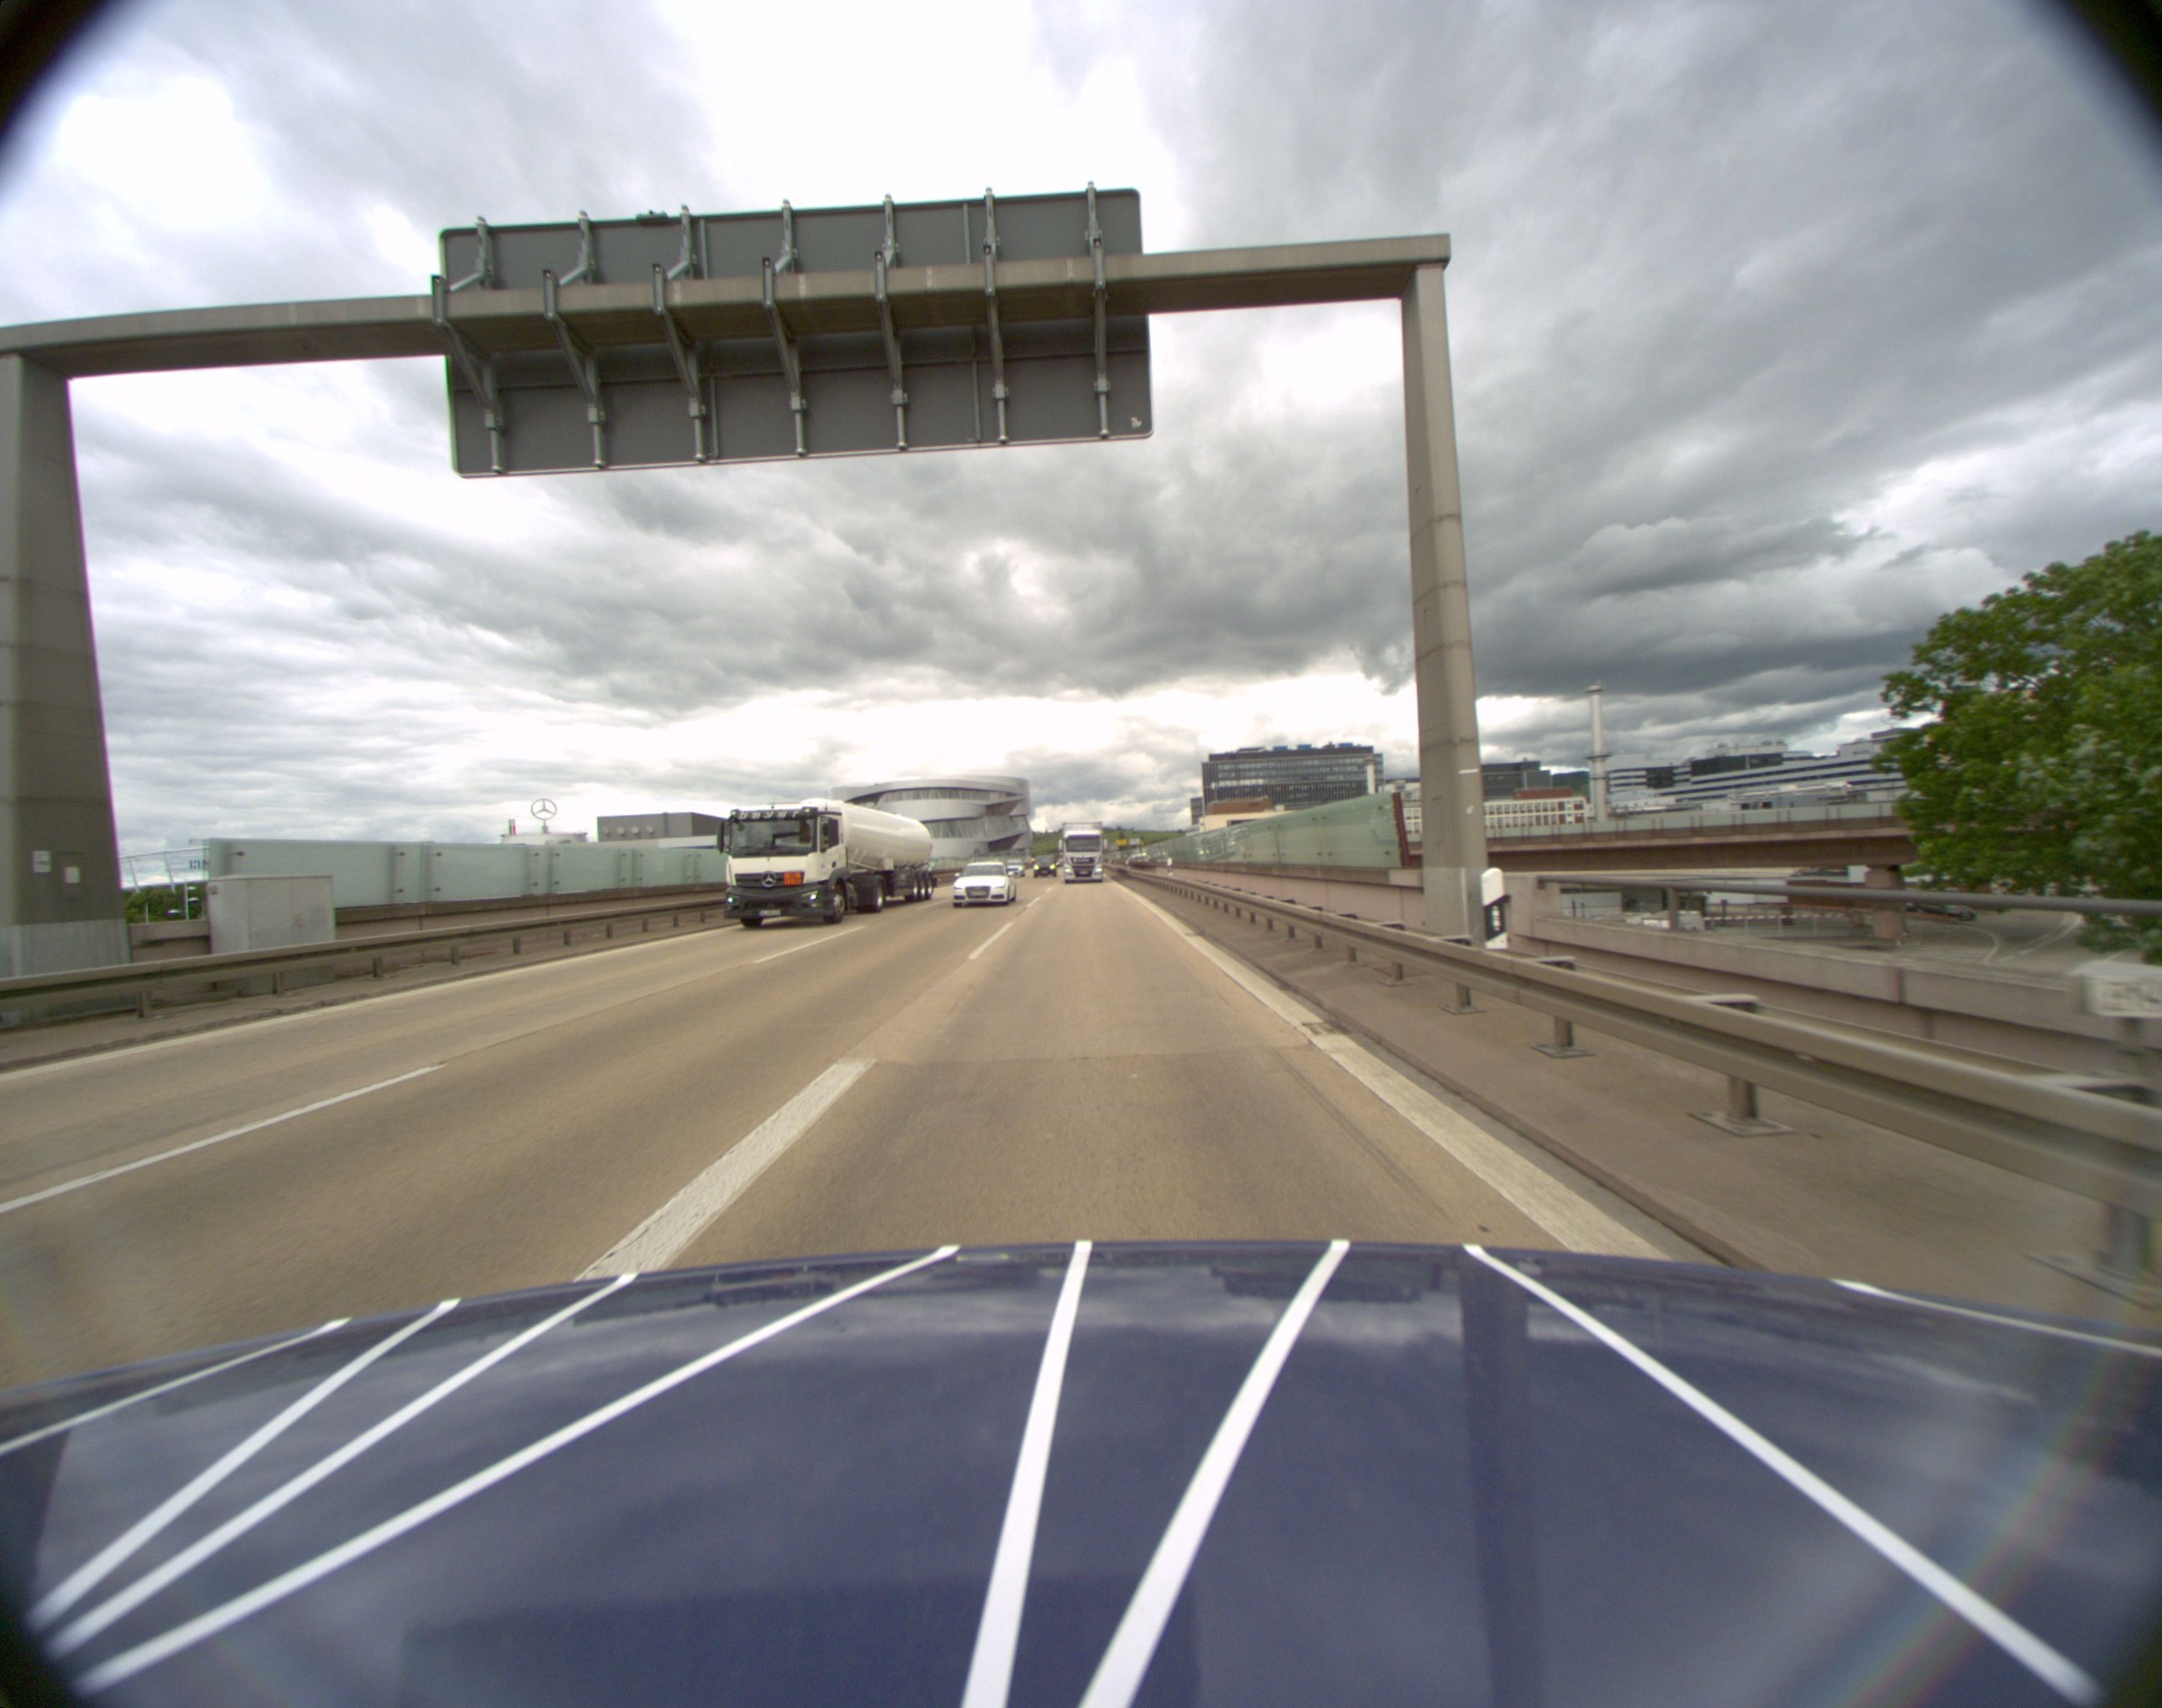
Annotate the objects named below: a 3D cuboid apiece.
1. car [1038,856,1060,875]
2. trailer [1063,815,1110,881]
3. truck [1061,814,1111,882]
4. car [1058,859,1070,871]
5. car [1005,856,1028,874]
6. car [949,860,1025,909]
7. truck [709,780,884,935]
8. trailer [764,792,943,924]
[{"bbox_3d":[-2.899,1.007,69.346,1.765,1.624,3.627,-2,1,1],"label":"car"},{"bbox_3d":[0.440,-0.413,54.066,2.880,4.104,11.219,-2,0,1],"label":"trailer"},{"bbox_3d":[0.332,-0.383,49.734,2.946,4.136,6.291,-2,0,1],"label":"truck"},{"bbox_3d":[-3.119,1.972,137.737,1.998,2.002,4.000,-2,1,0],"label":"car"},{"bbox_3d":[-6.271,1.098,74.405,1.785,1.624,3.627,-2,1,1],"label":"car"},{"bbox_3d":[-3.051,0.959,25.455,1.848,1.443,3.933,-2,0,3],"label":"car"},{"bbox_3d":[-7.228,0.123,20.062,2.637,3.492,4.905,-2,-1,0],"label":"truck"},{"bbox_3d":[-7.213,0.060,26.325,2.657,3.523,11.219,-2,0,0],"label":"trailer"}]
